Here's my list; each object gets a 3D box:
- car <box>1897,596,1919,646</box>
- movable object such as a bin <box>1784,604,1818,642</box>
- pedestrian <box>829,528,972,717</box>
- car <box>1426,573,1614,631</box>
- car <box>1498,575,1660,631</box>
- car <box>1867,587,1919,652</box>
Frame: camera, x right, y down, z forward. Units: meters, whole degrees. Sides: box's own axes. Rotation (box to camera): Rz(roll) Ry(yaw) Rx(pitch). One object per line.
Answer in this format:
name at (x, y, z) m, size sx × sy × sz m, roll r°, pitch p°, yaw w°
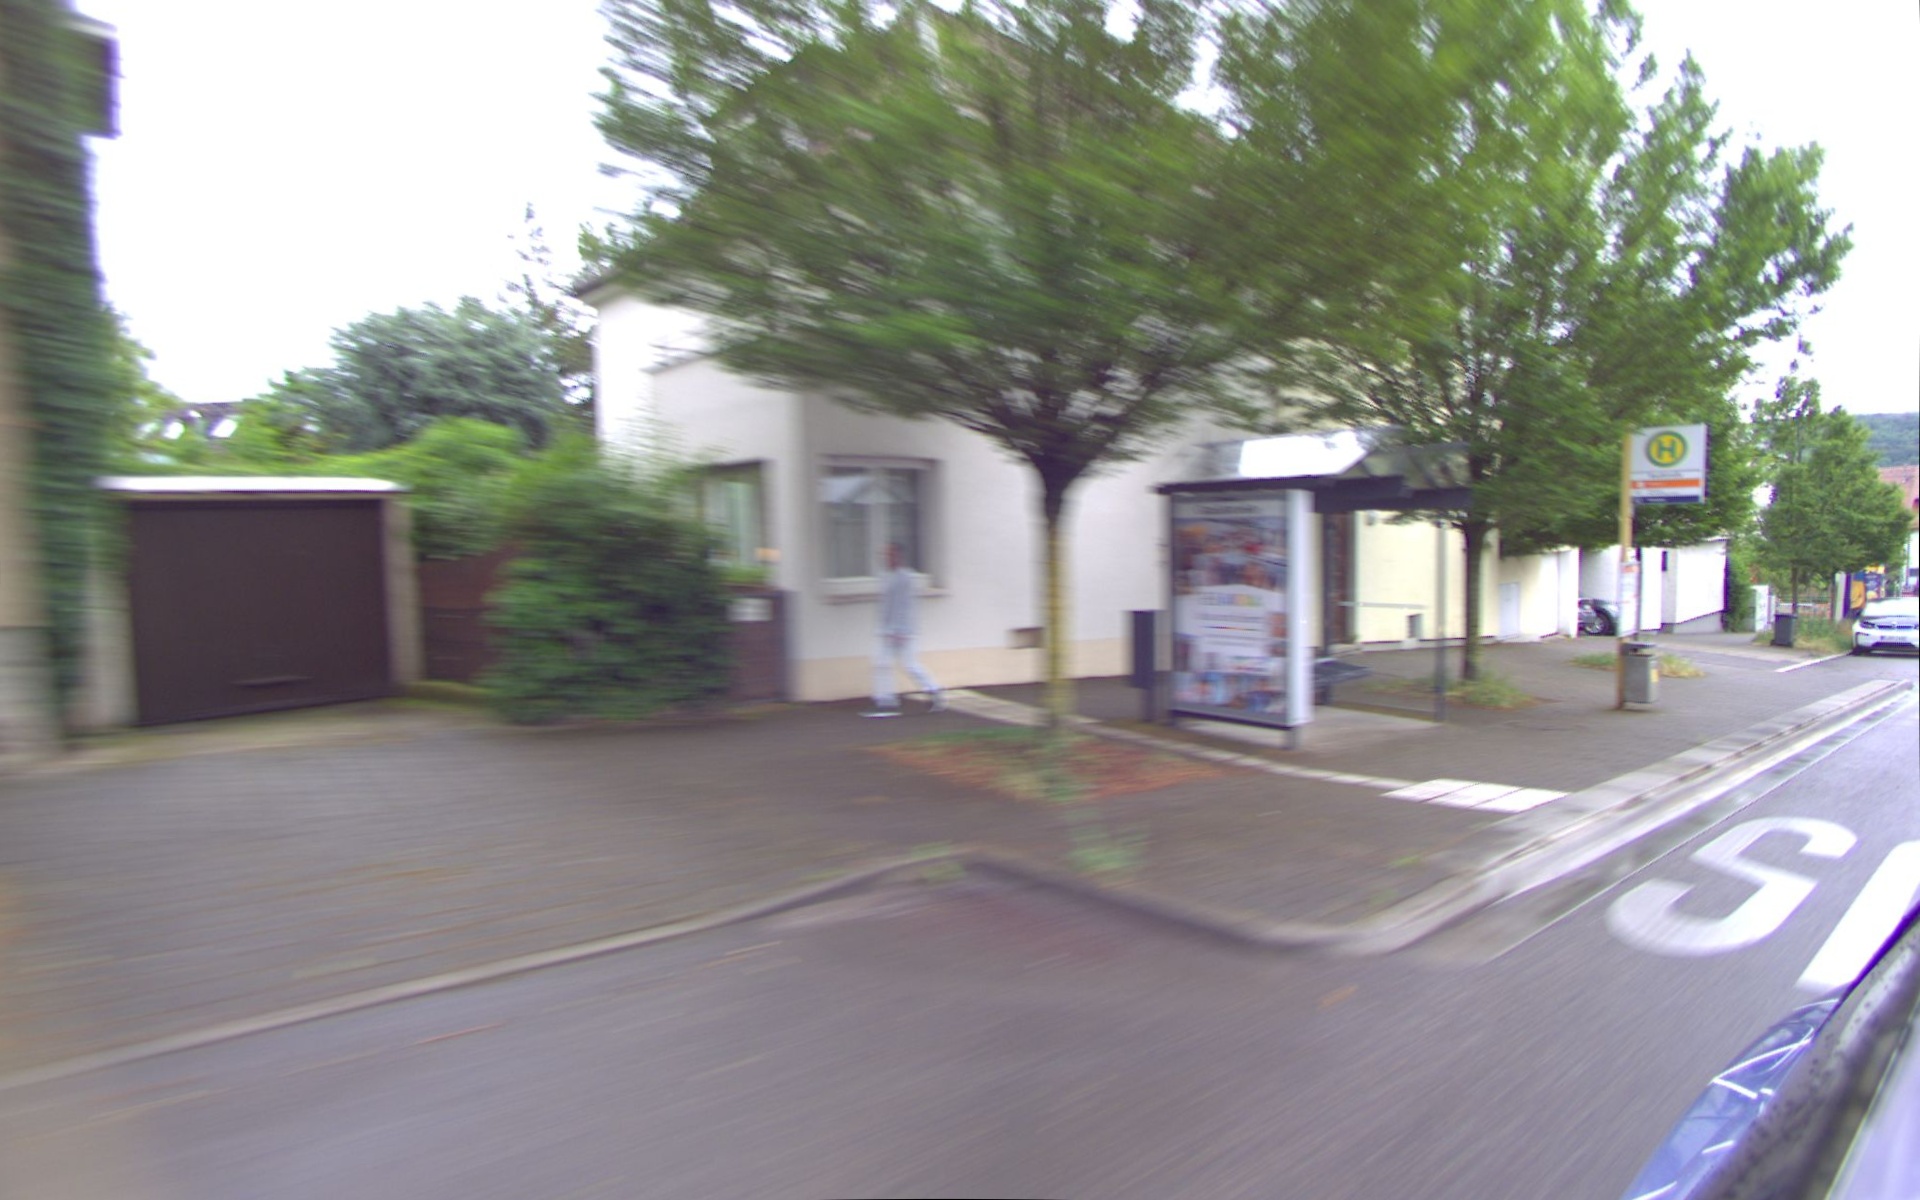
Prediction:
car at (29.757, 0.614, 30.677) m, size 4.801 × 1.457 × 1.780 m, roll 0°, pitch 1°, yaw -45°
movable object such as a bin at (22.868, 0.626, 27.519) m, size 0.593 × 0.986 × 0.487 m, roll 0°, pitch 5°, yaw -35°
pedestrian at (-0.580, 0.188, 9.857) m, size 1.026 × 1.706 × 0.835 m, roll 0°, pitch 4°, yaw -40°
car at (15.750, 0.023, 28.648) m, size 1.798 × 1.499 × 4.306 m, roll 1°, pitch 1°, yaw -40°
car at (18.116, 0.048, 29.737) m, size 1.750 × 1.526 × 3.708 m, roll 1°, pitch 1°, yaw -40°
car at (25.733, 0.487, 27.151) m, size 4.050 × 1.628 × 1.731 m, roll 0°, pitch 0°, yaw -43°
